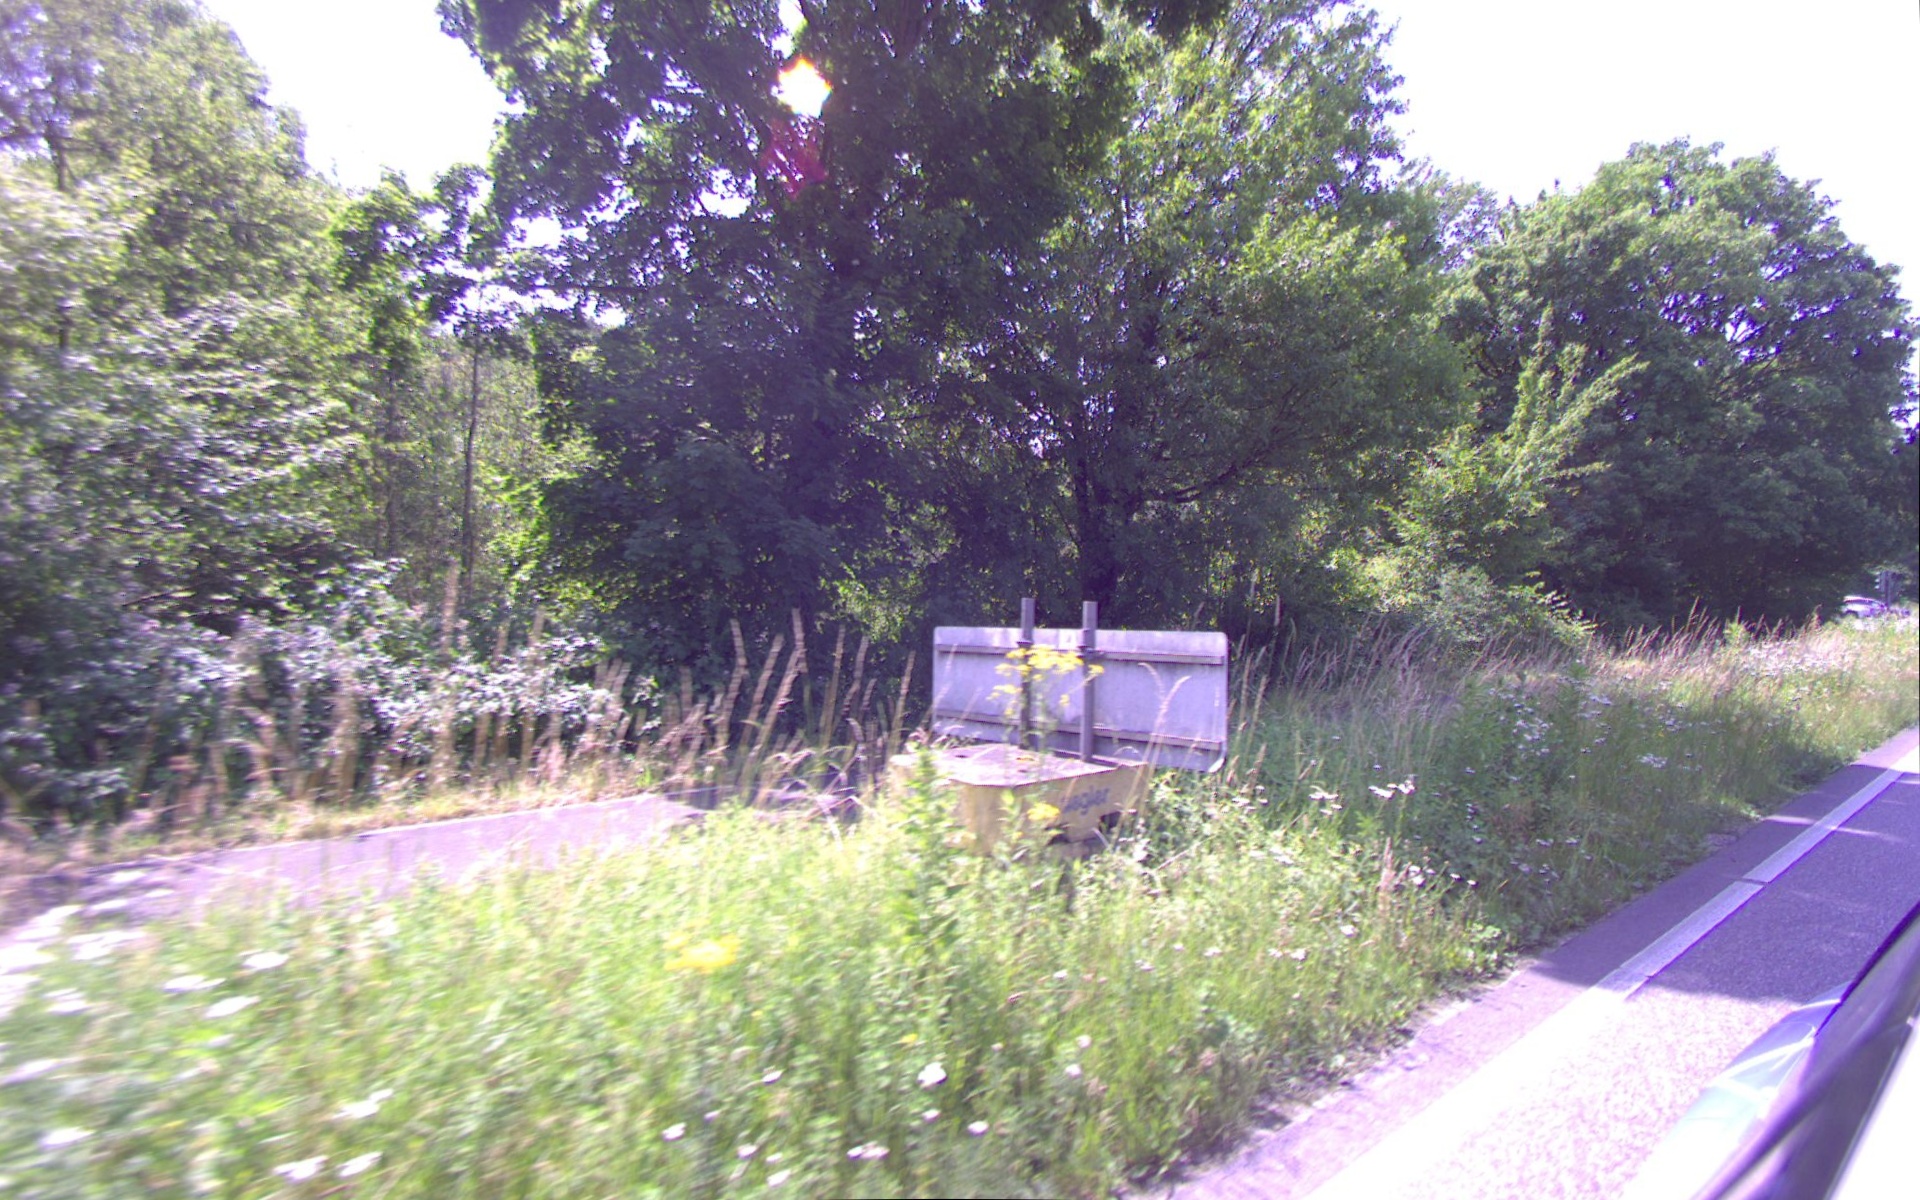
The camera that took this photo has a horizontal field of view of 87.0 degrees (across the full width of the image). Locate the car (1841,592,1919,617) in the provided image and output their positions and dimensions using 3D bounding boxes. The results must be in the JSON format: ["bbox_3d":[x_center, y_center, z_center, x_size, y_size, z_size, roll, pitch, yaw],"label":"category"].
[{"bbox_3d":[63.381,0.303,69.460,1.961,1.464,4.100,0,3,-41],"label":"car"}]

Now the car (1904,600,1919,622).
[{"bbox_3d":[78.634,0.906,81.272,3.673,1.712,1.738,1,1,9],"label":"car"}]

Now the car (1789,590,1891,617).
[{"bbox_3d":[59.564,0.213,68.574,1.984,1.516,4.946,0,3,-38],"label":"car"}]
